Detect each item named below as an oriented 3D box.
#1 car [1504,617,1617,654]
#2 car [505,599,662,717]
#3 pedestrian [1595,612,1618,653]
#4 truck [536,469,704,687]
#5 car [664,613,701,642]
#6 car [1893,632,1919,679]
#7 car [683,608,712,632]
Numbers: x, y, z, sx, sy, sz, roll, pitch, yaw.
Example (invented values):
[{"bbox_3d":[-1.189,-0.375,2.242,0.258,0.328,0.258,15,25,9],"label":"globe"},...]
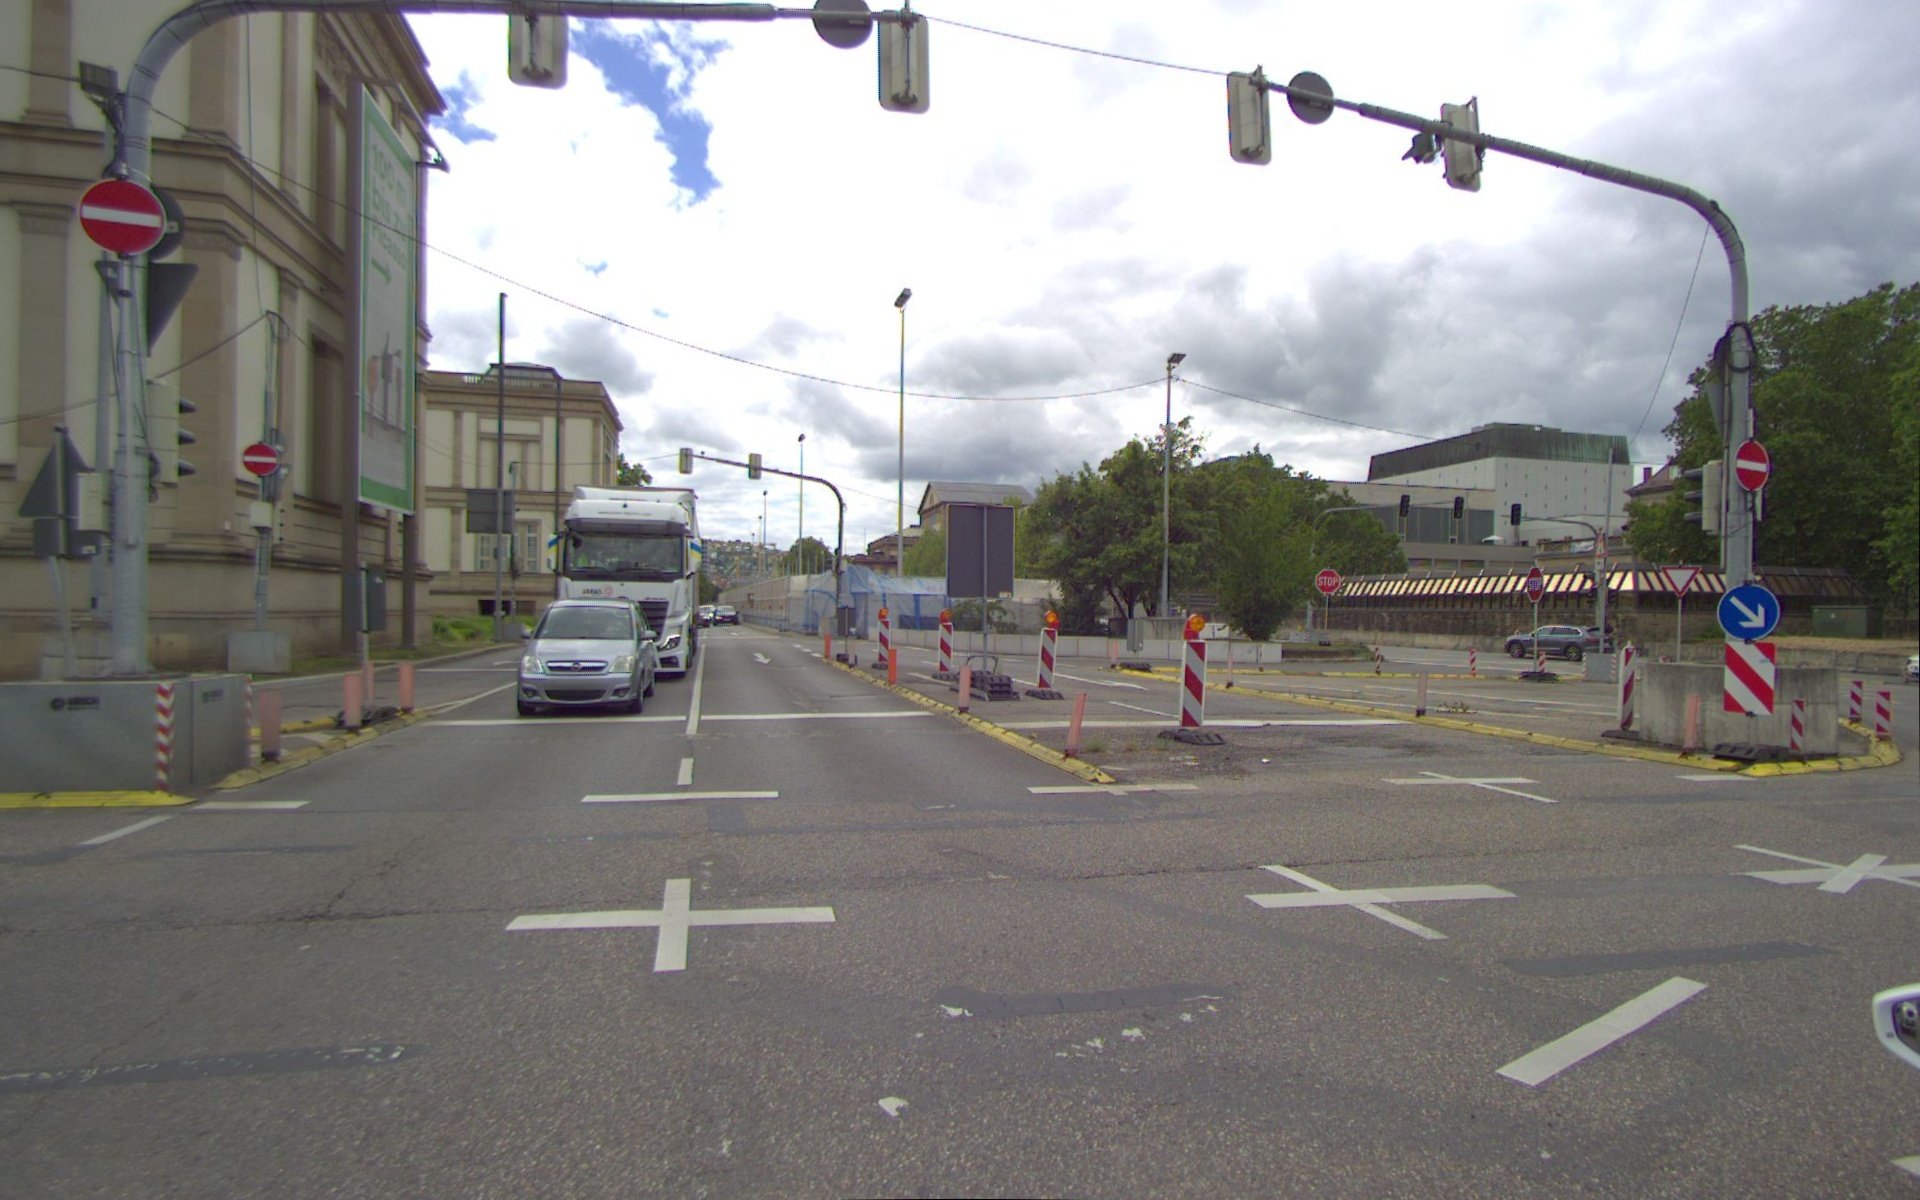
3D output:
[{"bbox_3d":[28.813,1.666,48.336,1.804,1.589,4.451,1,0,-25],"label":"car"},{"bbox_3d":[-5.579,0.780,15.363,1.741,1.524,4.119,1,0,-14],"label":"car"},{"bbox_3d":[32.732,1.629,50.844,0.618,2.040,0.841,3,-2,-41],"label":"pedestrian"},{"bbox_3d":[-8.567,-0.352,27.416,2.877,4.137,16.568,0,0,-14],"label":"truck"},{"bbox_3d":[-14.827,1.442,53.805,1.563,1.445,3.635,2,-1,-11],"label":"car"},{"bbox_3d":[36.829,2.106,36.311,4.261,1.589,1.749,3,4,36],"label":"car"},{"bbox_3d":[-17.699,1.343,67.796,1.584,1.498,3.635,2,-1,-11],"label":"car"}]
